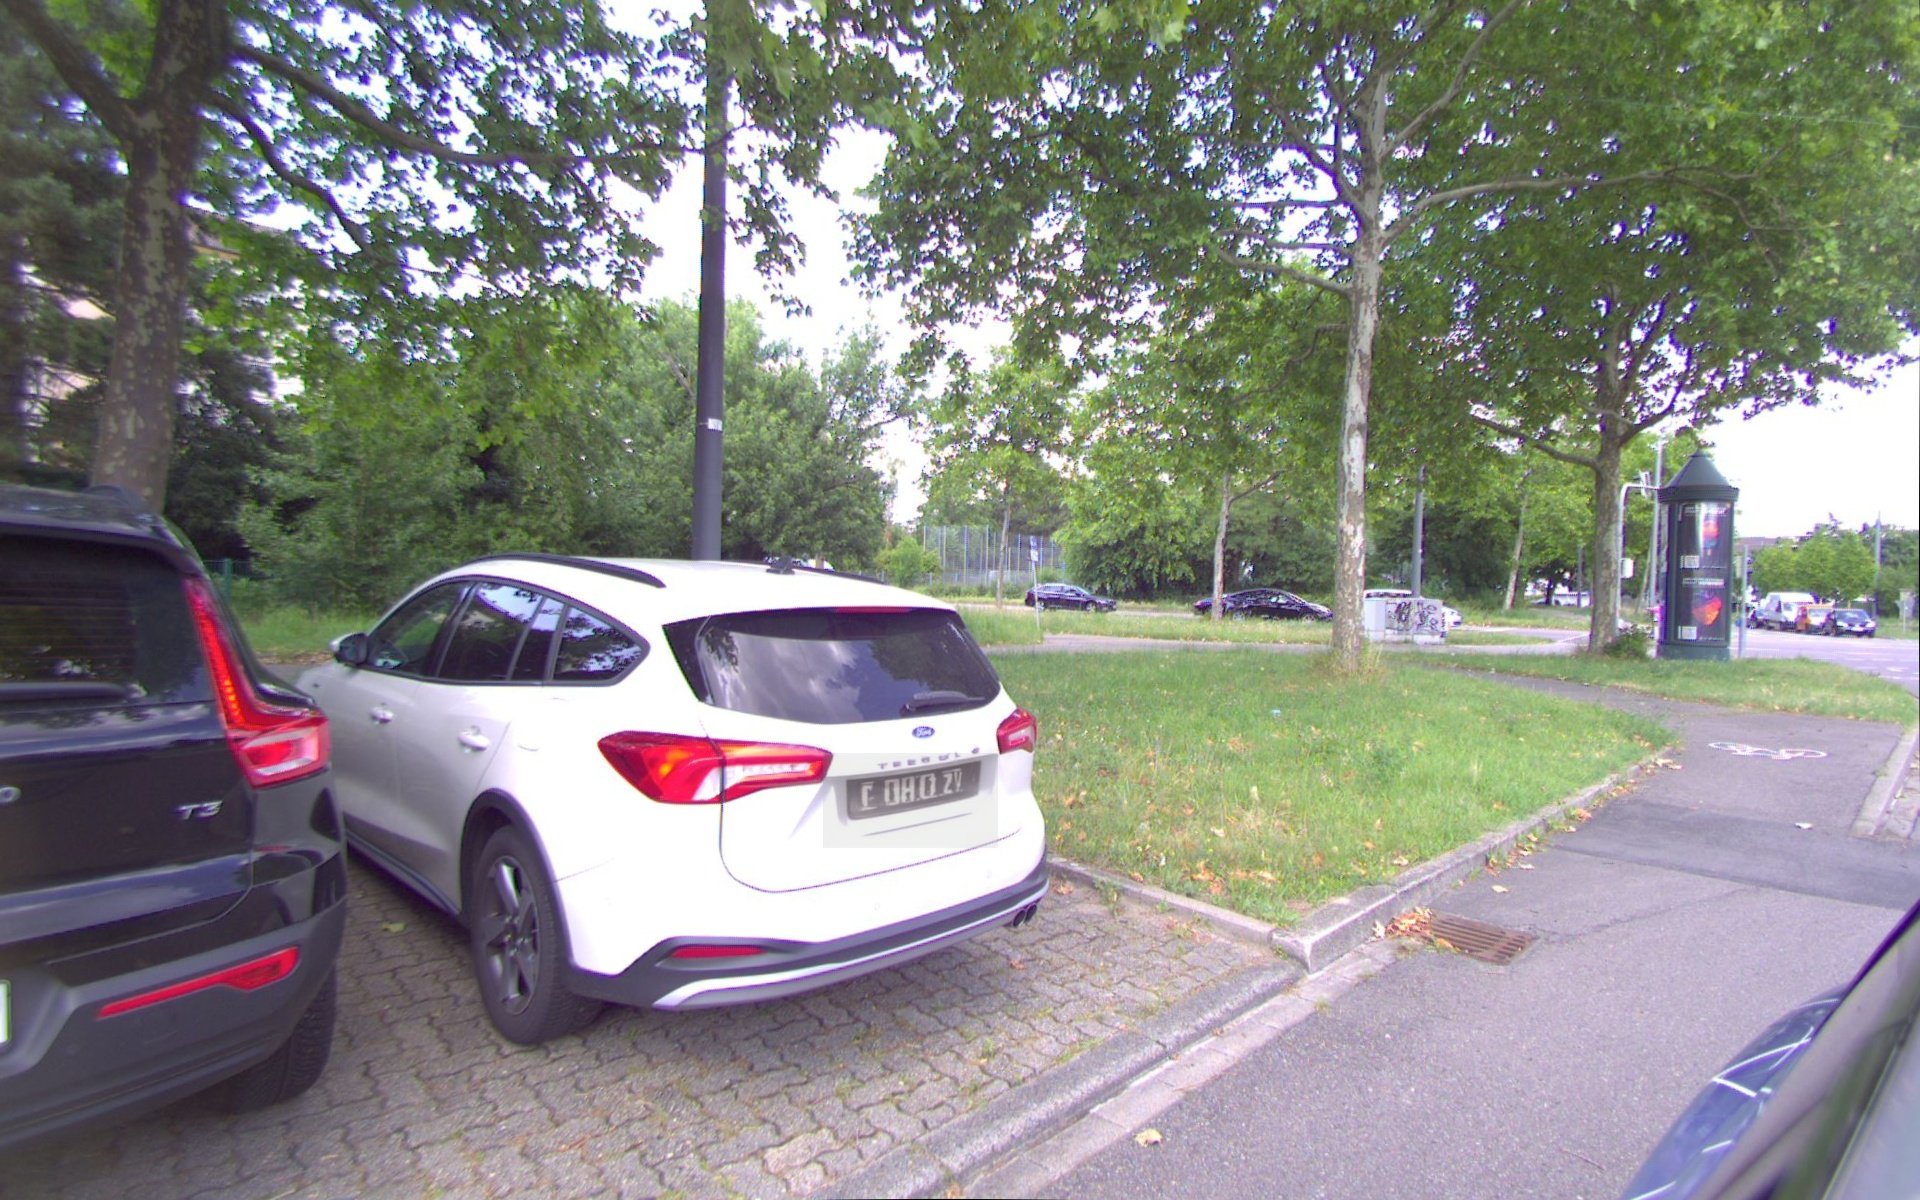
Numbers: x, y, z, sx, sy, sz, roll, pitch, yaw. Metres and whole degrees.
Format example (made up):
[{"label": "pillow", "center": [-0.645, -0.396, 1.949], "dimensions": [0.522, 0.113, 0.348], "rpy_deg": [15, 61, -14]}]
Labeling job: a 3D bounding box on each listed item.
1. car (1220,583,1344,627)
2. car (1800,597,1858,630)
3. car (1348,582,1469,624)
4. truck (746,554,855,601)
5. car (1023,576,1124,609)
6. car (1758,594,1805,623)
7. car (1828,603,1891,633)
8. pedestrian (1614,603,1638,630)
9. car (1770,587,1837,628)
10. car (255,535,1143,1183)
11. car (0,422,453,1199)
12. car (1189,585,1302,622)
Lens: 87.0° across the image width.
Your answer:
[{"label": "car", "center": [13.517, 0.151, 42.539], "dimensions": [4.645, 1.630, 1.980], "rpy_deg": [2, 2, 29]}, {"label": "car", "center": [53.233, 0.786, 62.094], "dimensions": [1.780, 1.959, 4.324], "rpy_deg": [1, 1, 29]}, {"label": "car", "center": [19.341, 0.086, 43.677], "dimensions": [4.644, 1.630, 1.981], "rpy_deg": [2, 2, 28]}, {"label": "truck", "center": [-9.552, -1.345, 60.279], "dimensions": [6.452, 2.628, 2.194], "rpy_deg": [2, 1, 29]}, {"label": "car", "center": [5.725, -0.410, 51.088], "dimensions": [4.644, 1.532, 1.981], "rpy_deg": [2, 2, 28]}, {"label": "car", "center": [59.006, 0.596, 72.794], "dimensions": [1.780, 1.959, 4.326], "rpy_deg": [1, 1, 28]}, {"label": "car", "center": [50.398, 0.991, 56.758], "dimensions": [1.781, 1.558, 3.959], "rpy_deg": [1, 1, 29]}, {"label": "pedestrian", "center": [26.697, 0.646, 40.583], "dimensions": [0.717, 1.047, 0.892], "rpy_deg": [2, 1, 30]}, {"label": "car", "center": [56.368, 0.458, 67.766], "dimensions": [2.219, 2.538, 5.670], "rpy_deg": [1, 1, 28]}, {"label": "car", "center": [-1.641, 0.504, 4.655], "dimensions": [4.662, 1.492, 1.818], "rpy_deg": [4, 2, 45]}, {"label": "car", "center": [-3.379, 0.414, 3.156], "dimensions": [4.662, 1.646, 1.818], "rpy_deg": [4, 2, 45]}, {"label": "car", "center": [13.116, 0.113, 46.583], "dimensions": [4.706, 1.487, 1.981], "rpy_deg": [2, 2, 28]}]
